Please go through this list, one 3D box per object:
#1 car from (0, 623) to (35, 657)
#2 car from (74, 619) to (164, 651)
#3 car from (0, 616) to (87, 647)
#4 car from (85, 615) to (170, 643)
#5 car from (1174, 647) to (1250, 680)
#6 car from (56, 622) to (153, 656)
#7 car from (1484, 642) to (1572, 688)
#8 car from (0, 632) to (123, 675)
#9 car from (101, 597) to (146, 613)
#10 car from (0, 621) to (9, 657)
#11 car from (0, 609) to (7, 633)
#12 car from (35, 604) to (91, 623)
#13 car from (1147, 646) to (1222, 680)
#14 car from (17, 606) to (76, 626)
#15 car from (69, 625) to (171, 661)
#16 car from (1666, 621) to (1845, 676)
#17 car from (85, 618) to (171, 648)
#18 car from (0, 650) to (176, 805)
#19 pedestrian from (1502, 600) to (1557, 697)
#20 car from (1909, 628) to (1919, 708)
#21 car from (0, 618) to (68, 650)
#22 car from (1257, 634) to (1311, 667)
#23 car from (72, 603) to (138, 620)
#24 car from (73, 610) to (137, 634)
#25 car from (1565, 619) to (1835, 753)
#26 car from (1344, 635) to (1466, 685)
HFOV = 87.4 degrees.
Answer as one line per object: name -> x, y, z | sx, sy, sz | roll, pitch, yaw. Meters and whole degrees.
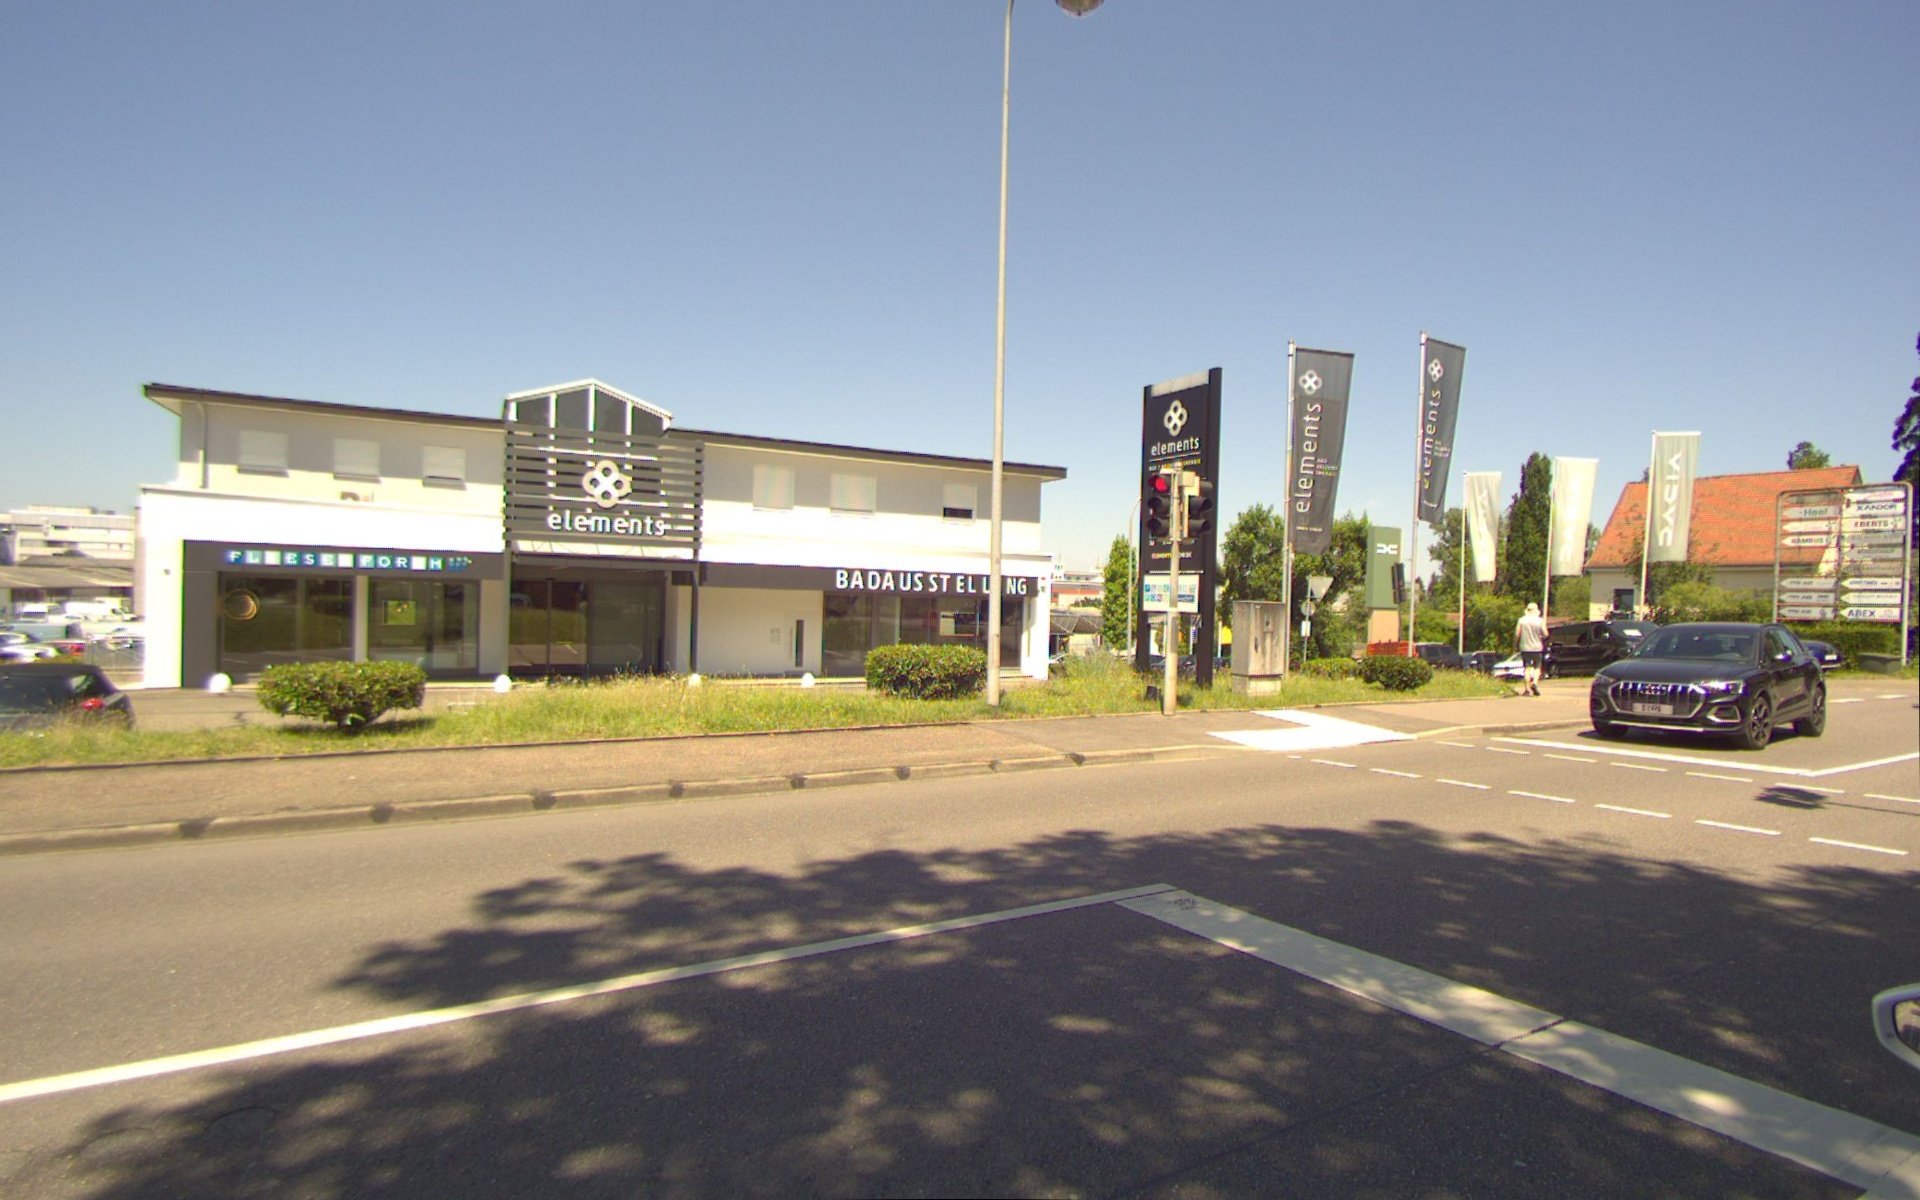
car -> -51.426, 2.085, 52.791 | 3.726, 1.778, 1.719 | 2, -1, -28
car -> -49.568, 2.057, 59.277 | 3.726, 1.778, 1.719 | 2, -1, -28
car -> -54.779, 1.903, 59.888 | 3.726, 1.778, 1.719 | 2, -1, -28
car -> -55.188, 1.918, 66.648 | 4.004, 1.778, 1.719 | 2, -1, -28
car -> 12.017, 2.998, 47.805 | 3.838, 1.434, 1.633 | 2, -1, -41
car -> -46.953, 2.121, 55.243 | 3.726, 1.778, 1.719 | 2, -1, -28
car -> 23.912, 2.679, 42.227 | 4.053, 1.744, 1.795 | 2, 0, -38
car -> -39.001, 2.306, 43.647 | 3.726, 1.778, 1.719 | 2, -1, -28
car -> -99.714, 0.604, 119.754 | 3.726, 1.778, 1.719 | 2, -1, -28
car -> -49.202, 1.910, 48.969 | 3.726, 1.778, 1.719 | 2, -1, -28
car -> -74.810, 1.575, 75.845 | 3.726, 1.778, 1.719 | 2, 0, -28
car -> -88.190, 1.341, 98.769 | 3.726, 1.778, 1.719 | 2, 0, -28
car -> 11.209, 3.085, 49.953 | 3.973, 1.506, 1.735 | 2, -1, -44
car -> -85.011, 1.473, 93.541 | 3.726, 1.778, 1.719 | 1, 3, -28
car -> -43.311, 2.213, 51.900 | 3.726, 1.778, 1.719 | 2, -1, -28
car -> 24.897, 1.488, 31.624 | 1.751, 1.524, 4.129 | 1, -1, -20
car -> -51.012, 2.029, 61.690 | 3.726, 1.778, 1.719 | 2, -1, -28
car -> -11.778, 1.504, 12.868 | 1.746, 1.553, 4.076 | 1, -1, -24
pedestrian -> 10.713, 0.910, 18.909 | 0.689, 1.785, 0.545 | 1, 0, -4
car -> 20.573, 1.363, 19.830 | 4.011, 1.527, 1.857 | 2, -1, -34
car -> -53.436, 1.927, 57.105 | 3.726, 1.778, 1.719 | 2, -1, -28
car -> 18.848, 2.891, 58.381 | 1.785, 1.744, 4.075 | 2, 0, 36
car -> -95.649, 1.295, 112.433 | 5.236, 1.778, 2.051 | 2, -1, -28
car -> -71.015, 1.820, 83.478 | 3.726, 1.778, 1.719 | 2, 0, -28
car -> 10.449, 1.096, 14.087 | 4.263, 1.576, 1.912 | 2, -1, -37
car -> 16.981, 2.278, 38.336 | 4.022, 1.744, 1.808 | 2, 0, -16
